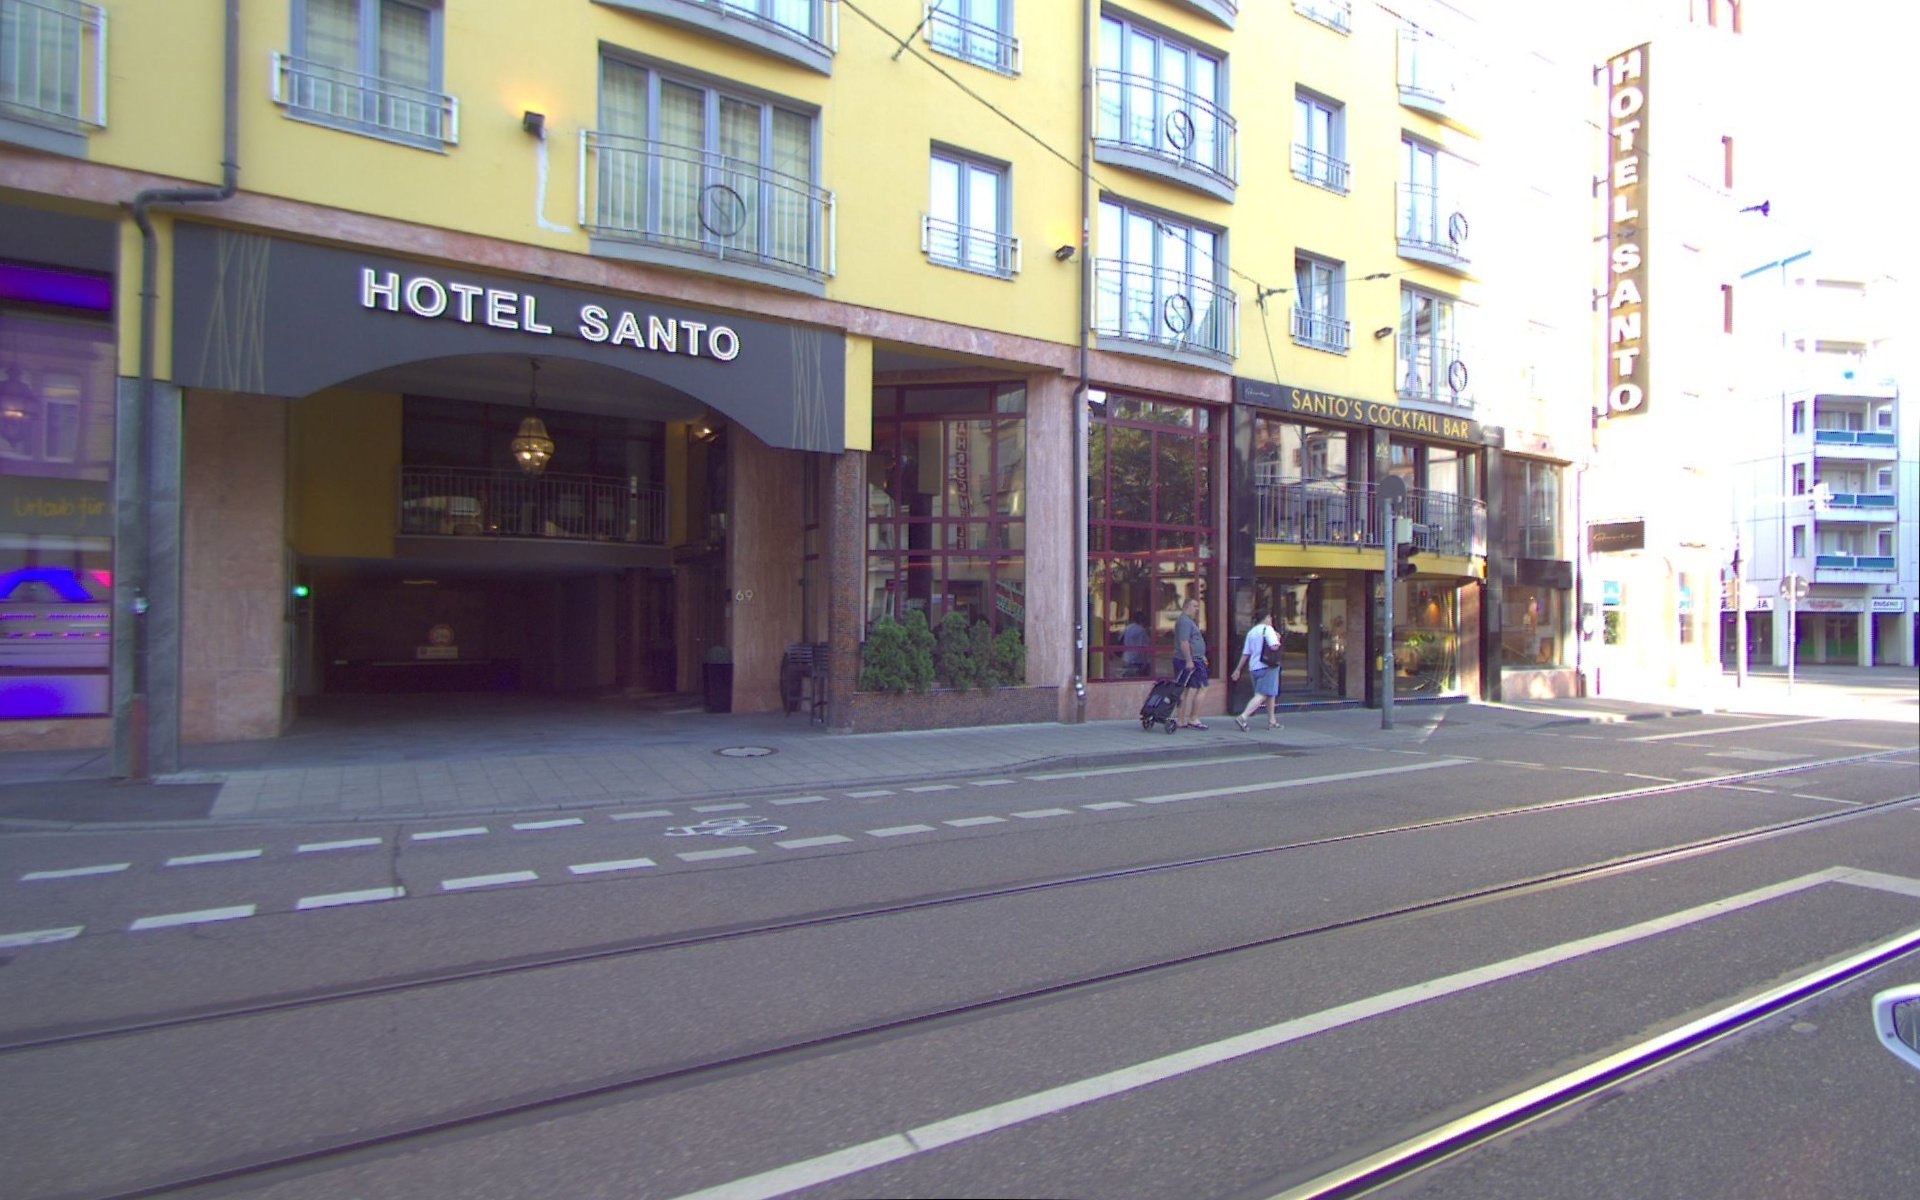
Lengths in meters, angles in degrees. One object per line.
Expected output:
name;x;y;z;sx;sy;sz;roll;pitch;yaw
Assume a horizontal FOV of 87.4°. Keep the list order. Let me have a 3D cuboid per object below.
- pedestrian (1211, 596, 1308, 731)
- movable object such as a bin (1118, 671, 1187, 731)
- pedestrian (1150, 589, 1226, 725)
pedestrian;4.336;0.895;14.564;1.034;1.843;0.747;1;4;-31
movable object such as a bin;2.582;1.348;13.491;0.831;0.726;0.381;1;4;-30
pedestrian;3.182;0.774;14.084;0.735;1.795;0.799;2;3;-6
